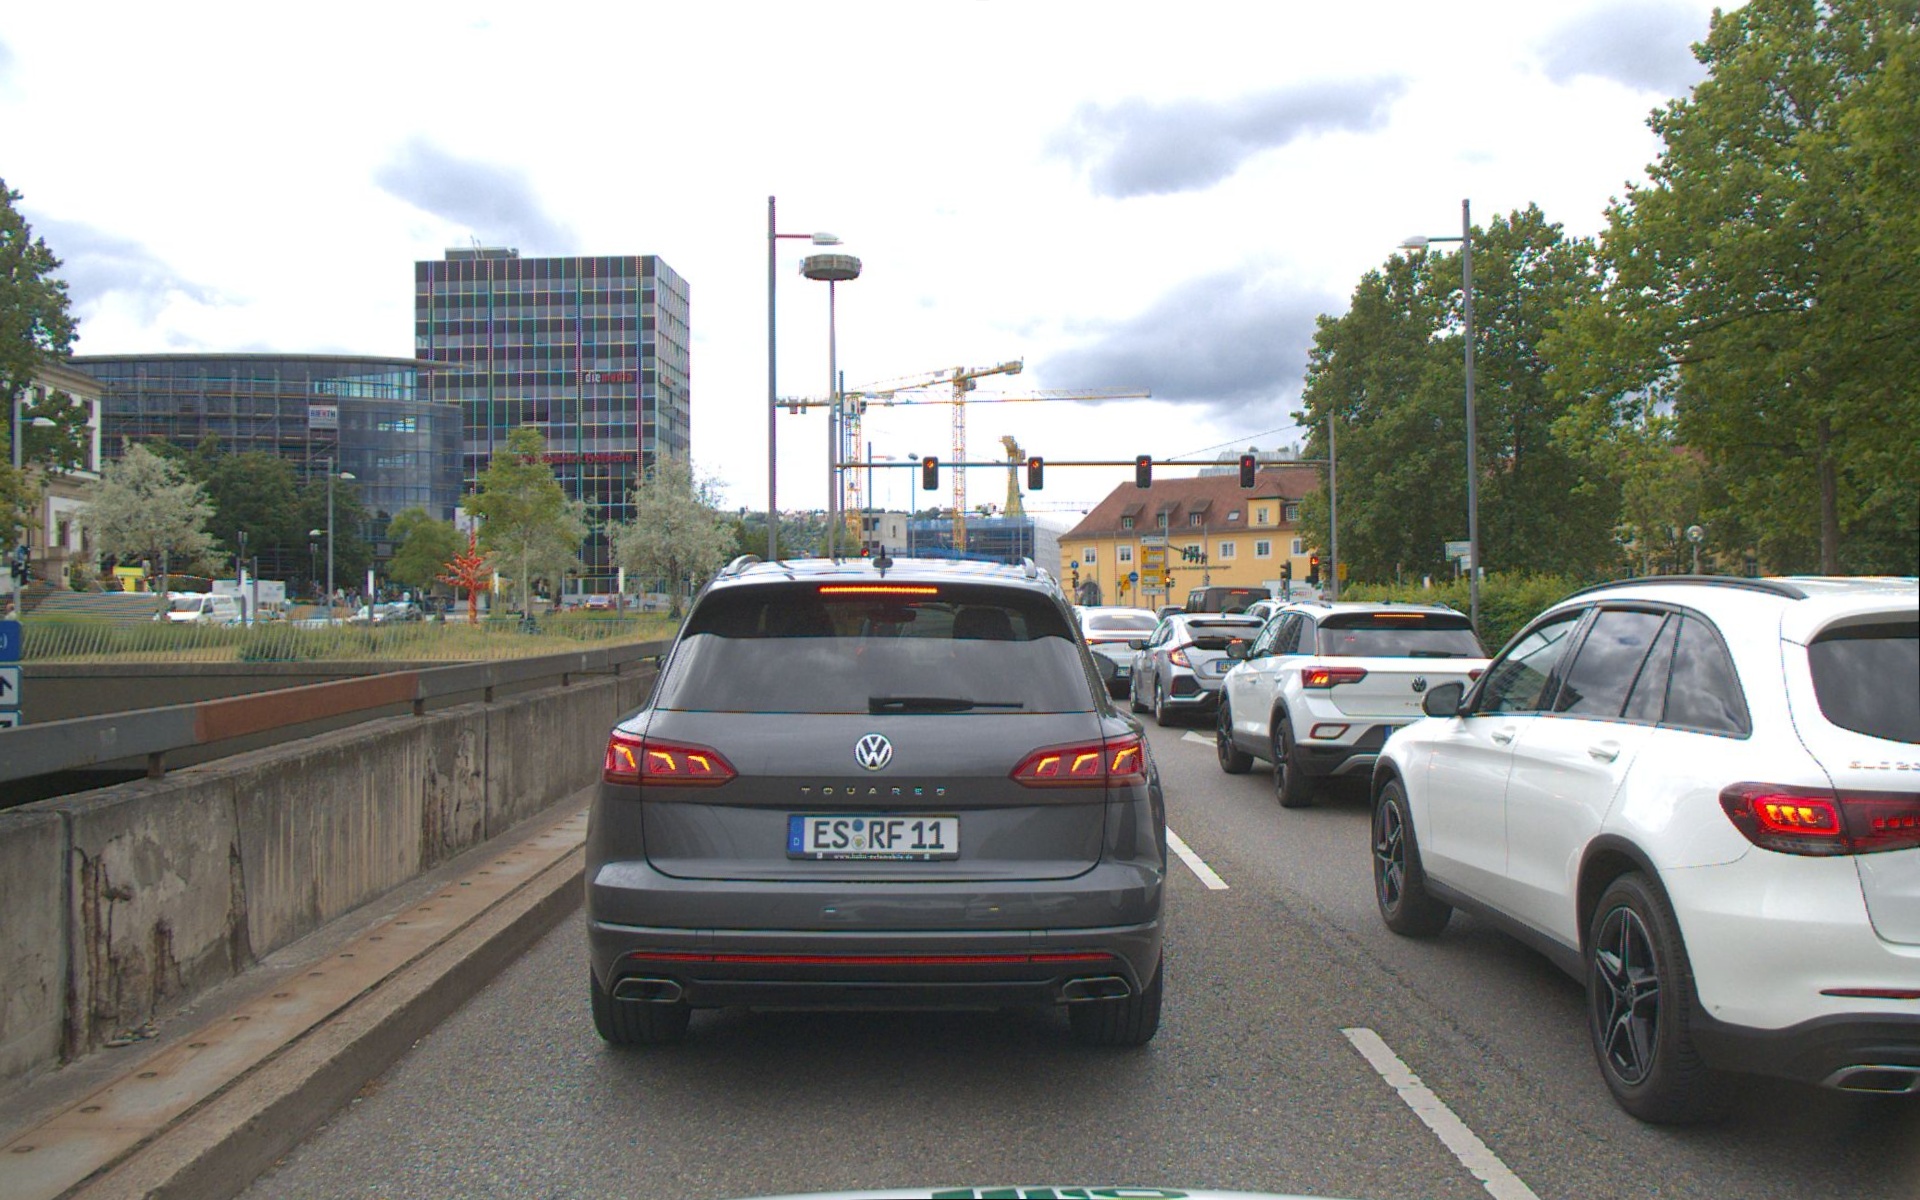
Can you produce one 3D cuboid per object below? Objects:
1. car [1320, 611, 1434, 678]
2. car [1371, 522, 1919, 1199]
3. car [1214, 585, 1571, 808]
[{"bbox_3d":[9.984,1.054,39.917,1.891,1.485,4.529,1,-1,4],"label":"car"},{"bbox_3d":[3.015,0.658,6.166,1.887,1.682,4.490,0,0,0],"label":"car"},{"bbox_3d":[3.435,0.716,14.042,1.887,1.578,4.489,0,-1,0],"label":"car"}]
